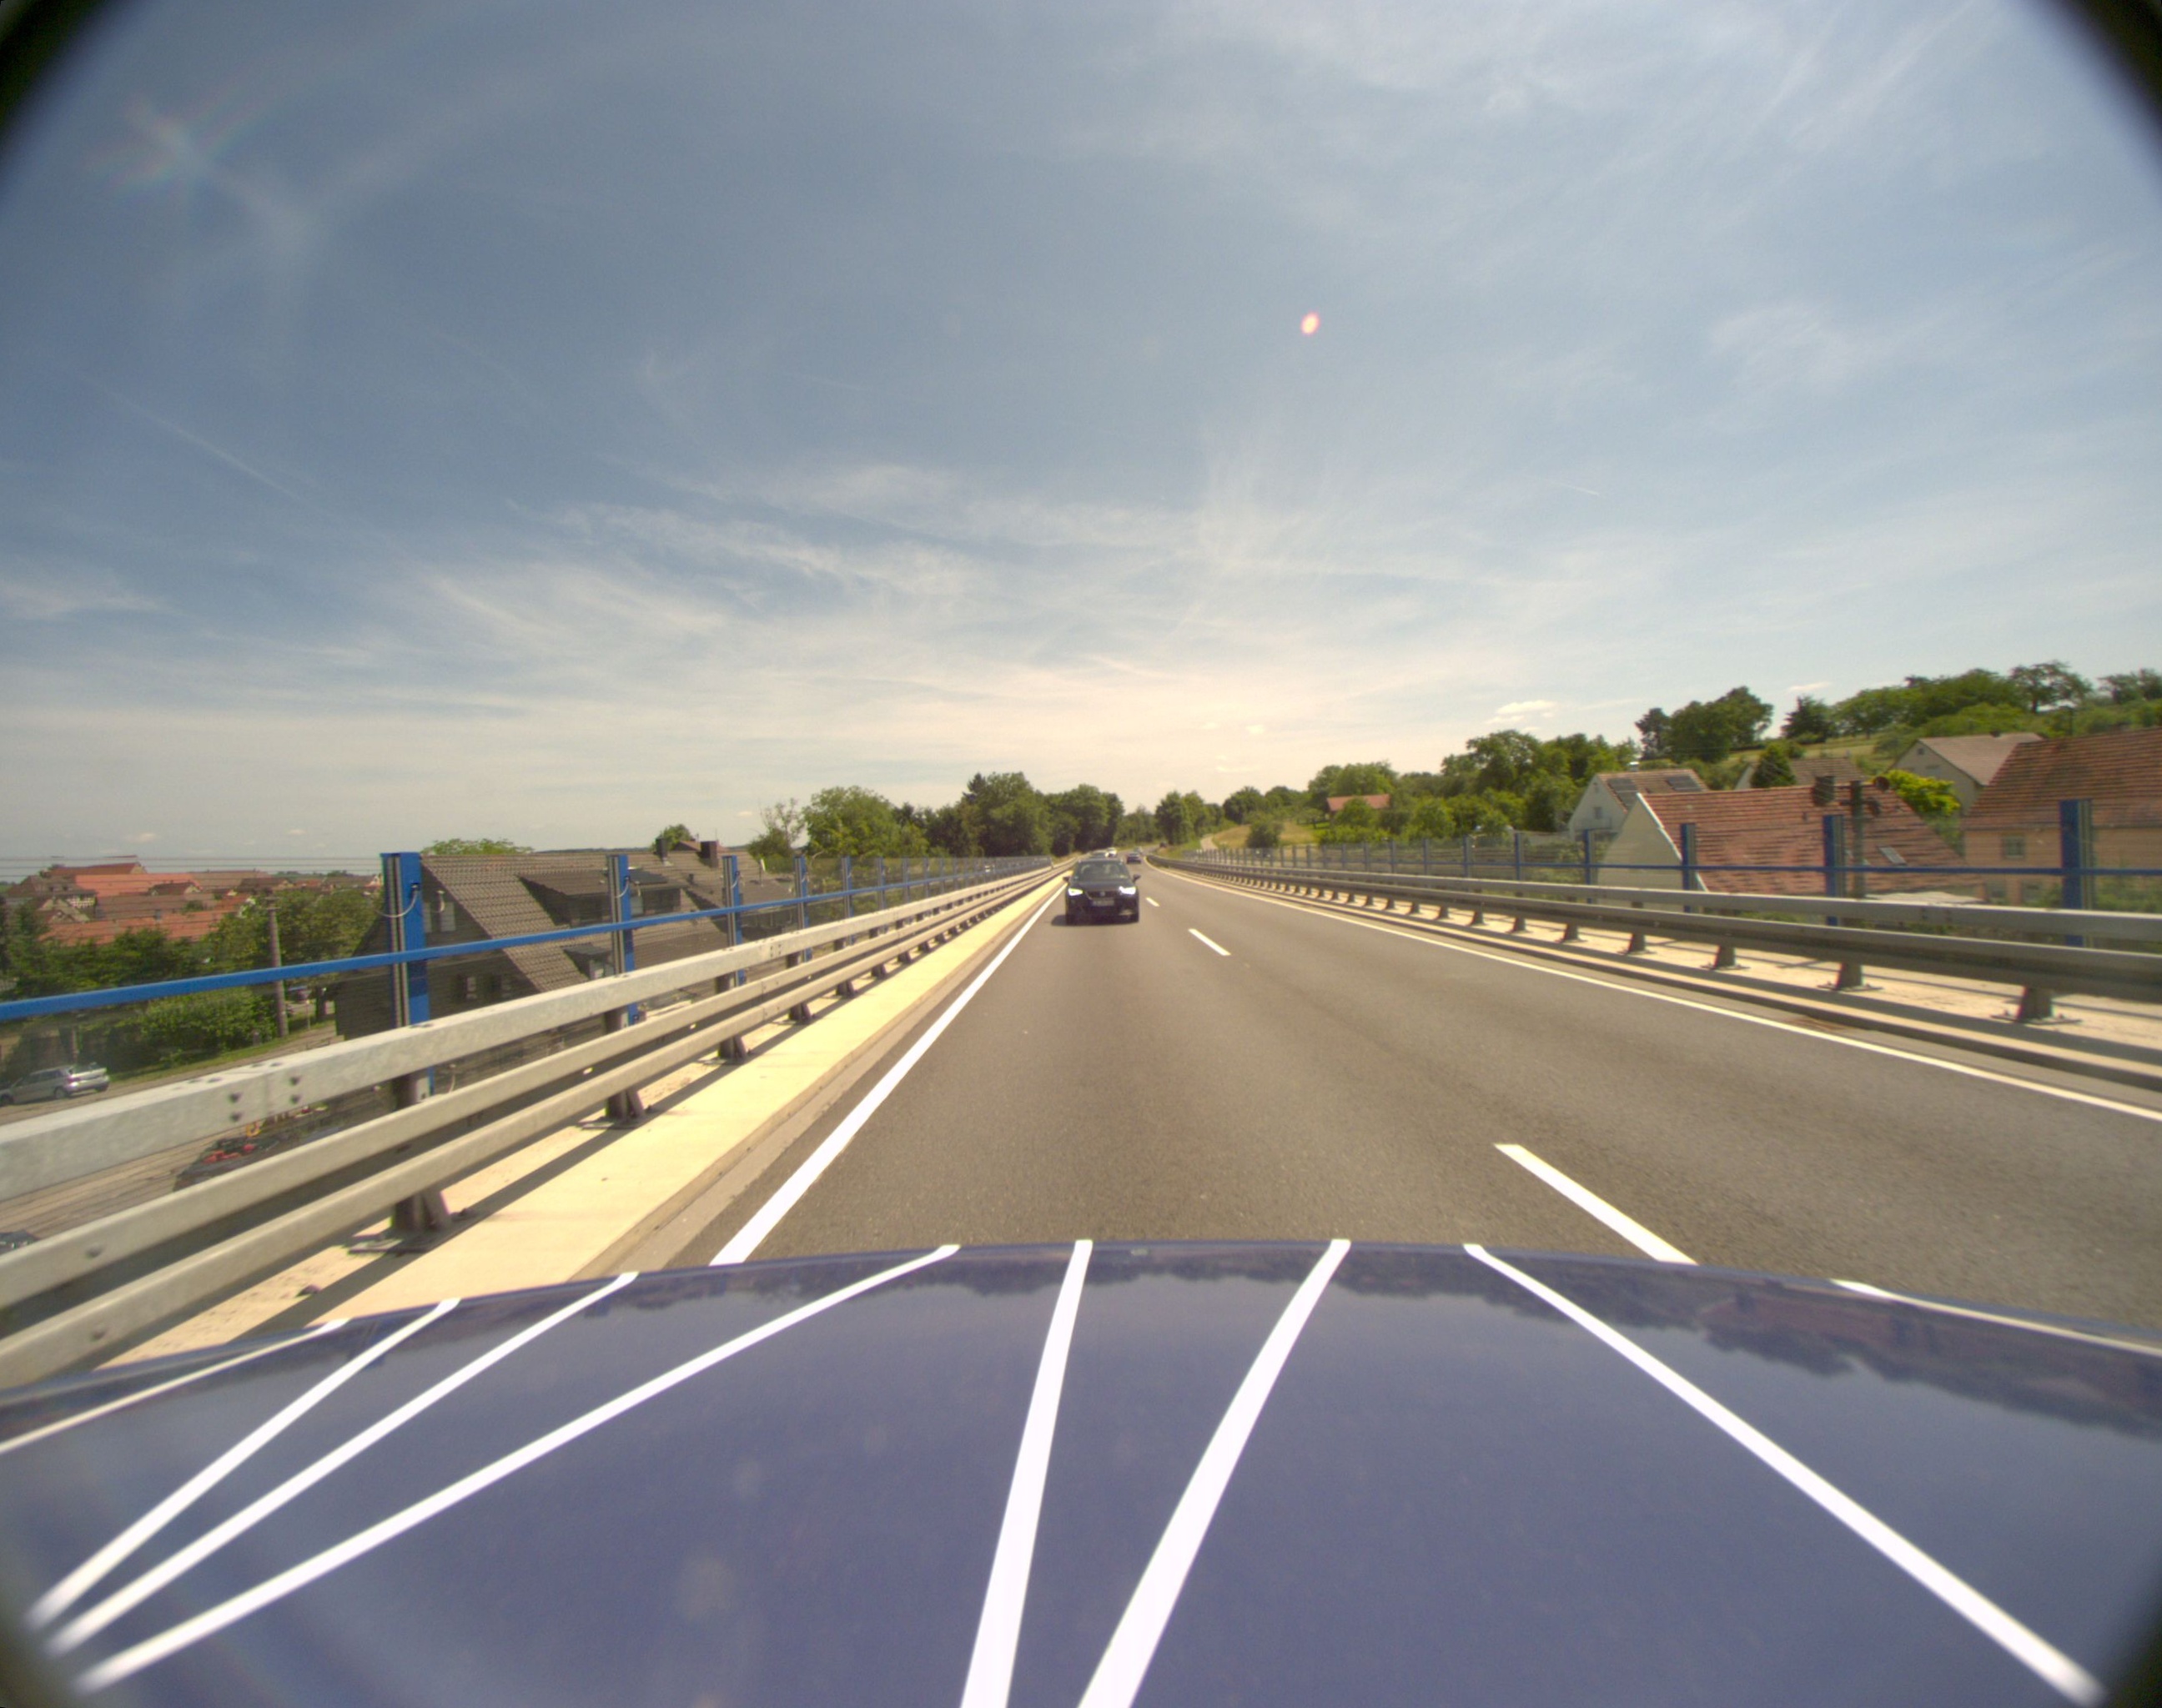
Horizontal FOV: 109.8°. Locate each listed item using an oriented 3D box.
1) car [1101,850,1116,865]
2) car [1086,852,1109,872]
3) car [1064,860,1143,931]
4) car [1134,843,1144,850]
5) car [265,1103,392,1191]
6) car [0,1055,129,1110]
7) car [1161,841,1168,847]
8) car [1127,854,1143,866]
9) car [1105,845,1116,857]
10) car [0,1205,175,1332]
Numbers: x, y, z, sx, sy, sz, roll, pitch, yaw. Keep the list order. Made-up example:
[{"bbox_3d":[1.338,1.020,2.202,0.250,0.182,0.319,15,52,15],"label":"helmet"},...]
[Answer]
[{"bbox_3d":[3.516,0.410,96.128,1.883,1.698,4.000,-1,1,3],"label":"car"},{"bbox_3d":[1.557,0.684,69.006,1.883,1.698,4.000,-1,1,4],"label":"car"},{"bbox_3d":[0.523,0.935,18.911,1.737,1.467,3.999,-1,1,1],"label":"car"},{"bbox_3d":[11.806,-1.503,154.498,1.711,1.496,4.118,-1,1,1],"label":"car"},{"bbox_3d":[-25.794,9.999,26.227,1.729,1.359,3.993,-9,1,-25],"label":"car"},{"bbox_3d":[-52.492,11.756,39.217,3.998,1.559,1.822,-10,1,-4],"label":"car"},{"bbox_3d":[23.579,-2.725,215.272,1.810,1.580,4.381,-1,1,8],"label":"car"},{"bbox_3d":[6.832,0.749,96.463,1.785,1.427,4.835,-1,0,3],"label":"car"},{"bbox_3d":[5.321,-0.473,136.521,1.998,2.002,3.999,-2,2,2],"label":"car"},{"bbox_3d":[-23.898,9.697,17.233,1.724,1.359,4.005,-8,1,33],"label":"car"}]
